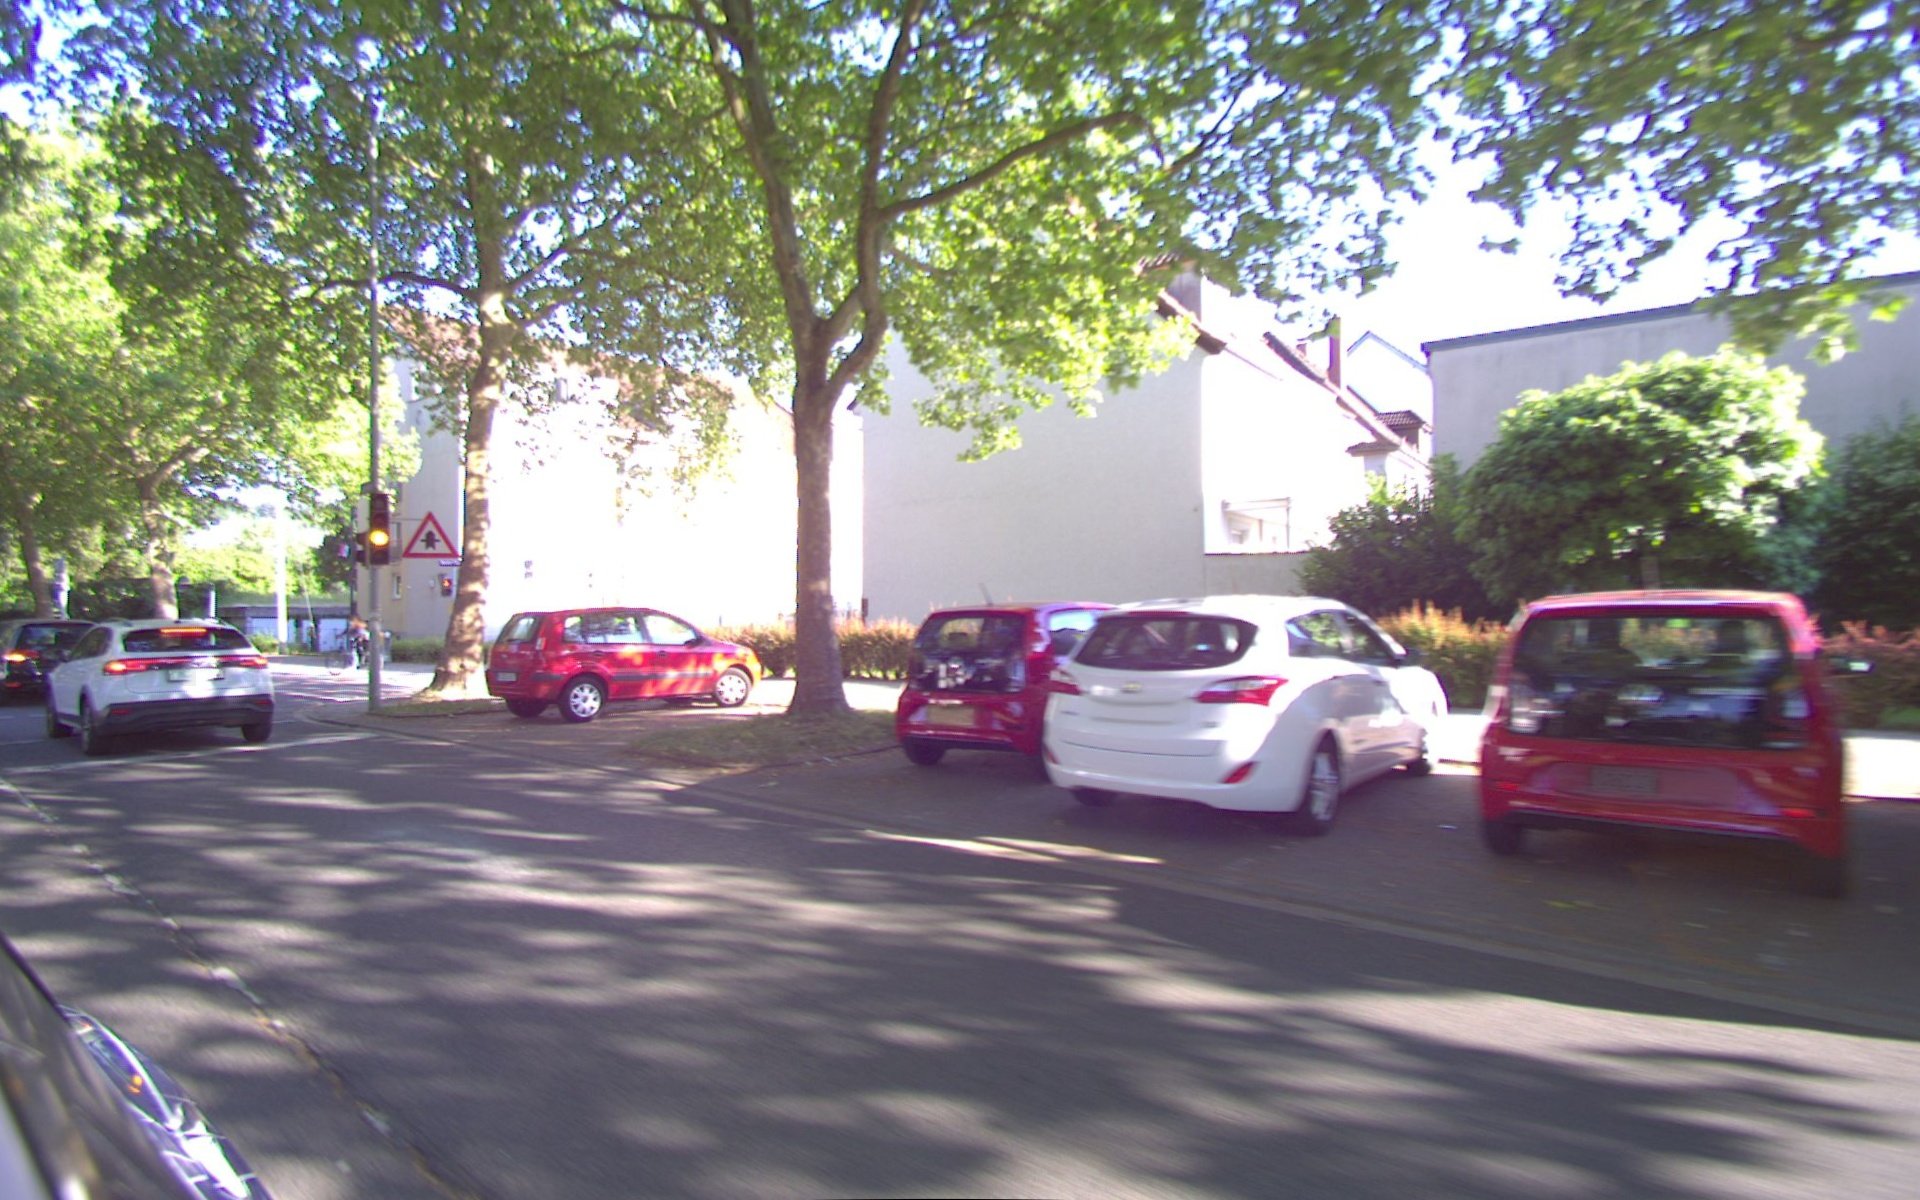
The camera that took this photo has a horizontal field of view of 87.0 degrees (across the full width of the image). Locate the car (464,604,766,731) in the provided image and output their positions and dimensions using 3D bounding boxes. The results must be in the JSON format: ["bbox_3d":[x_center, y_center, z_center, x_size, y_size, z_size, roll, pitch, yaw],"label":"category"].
[{"bbox_3d":[-4.820,0.852,14.535,1.829,1.546,3.728,-1,0,38],"label":"car"}]

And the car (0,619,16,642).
[{"bbox_3d":[-69.727,2.227,72.868,3.991,1.541,1.793,-2,1,35],"label":"car"}]

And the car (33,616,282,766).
[{"bbox_3d":[-9.879,0.972,12.345,4.092,1.512,1.698,-1,-1,42],"label":"car"}]

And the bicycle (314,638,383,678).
[{"bbox_3d":[-16.907,1.589,27.954,2.140,1.049,0.506,0,-1,25],"label":"bicycle"}]

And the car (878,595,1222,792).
[{"bbox_3d":[0.982,0.726,9.610,1.694,1.491,3.307,-1,0,39],"label":"car"}]

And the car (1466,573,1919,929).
[{"bbox_3d":[4.581,0.648,6.245,1.753,1.495,3.720,-1,-1,41],"label":"car"}]

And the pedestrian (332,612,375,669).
[{"bbox_3d":[-16.717,1.114,27.887,1.028,1.543,0.507,-1,-2,24],"label":"pedestrian"}]

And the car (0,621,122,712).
[{"bbox_3d":[-16.849,1.119,18.312,4.062,1.475,1.710,-1,-1,37],"label":"car"}]

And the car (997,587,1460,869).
[{"bbox_3d":[2.257,0.680,7.633,1.873,1.512,4.121,-1,0,39],"label":"car"}]
